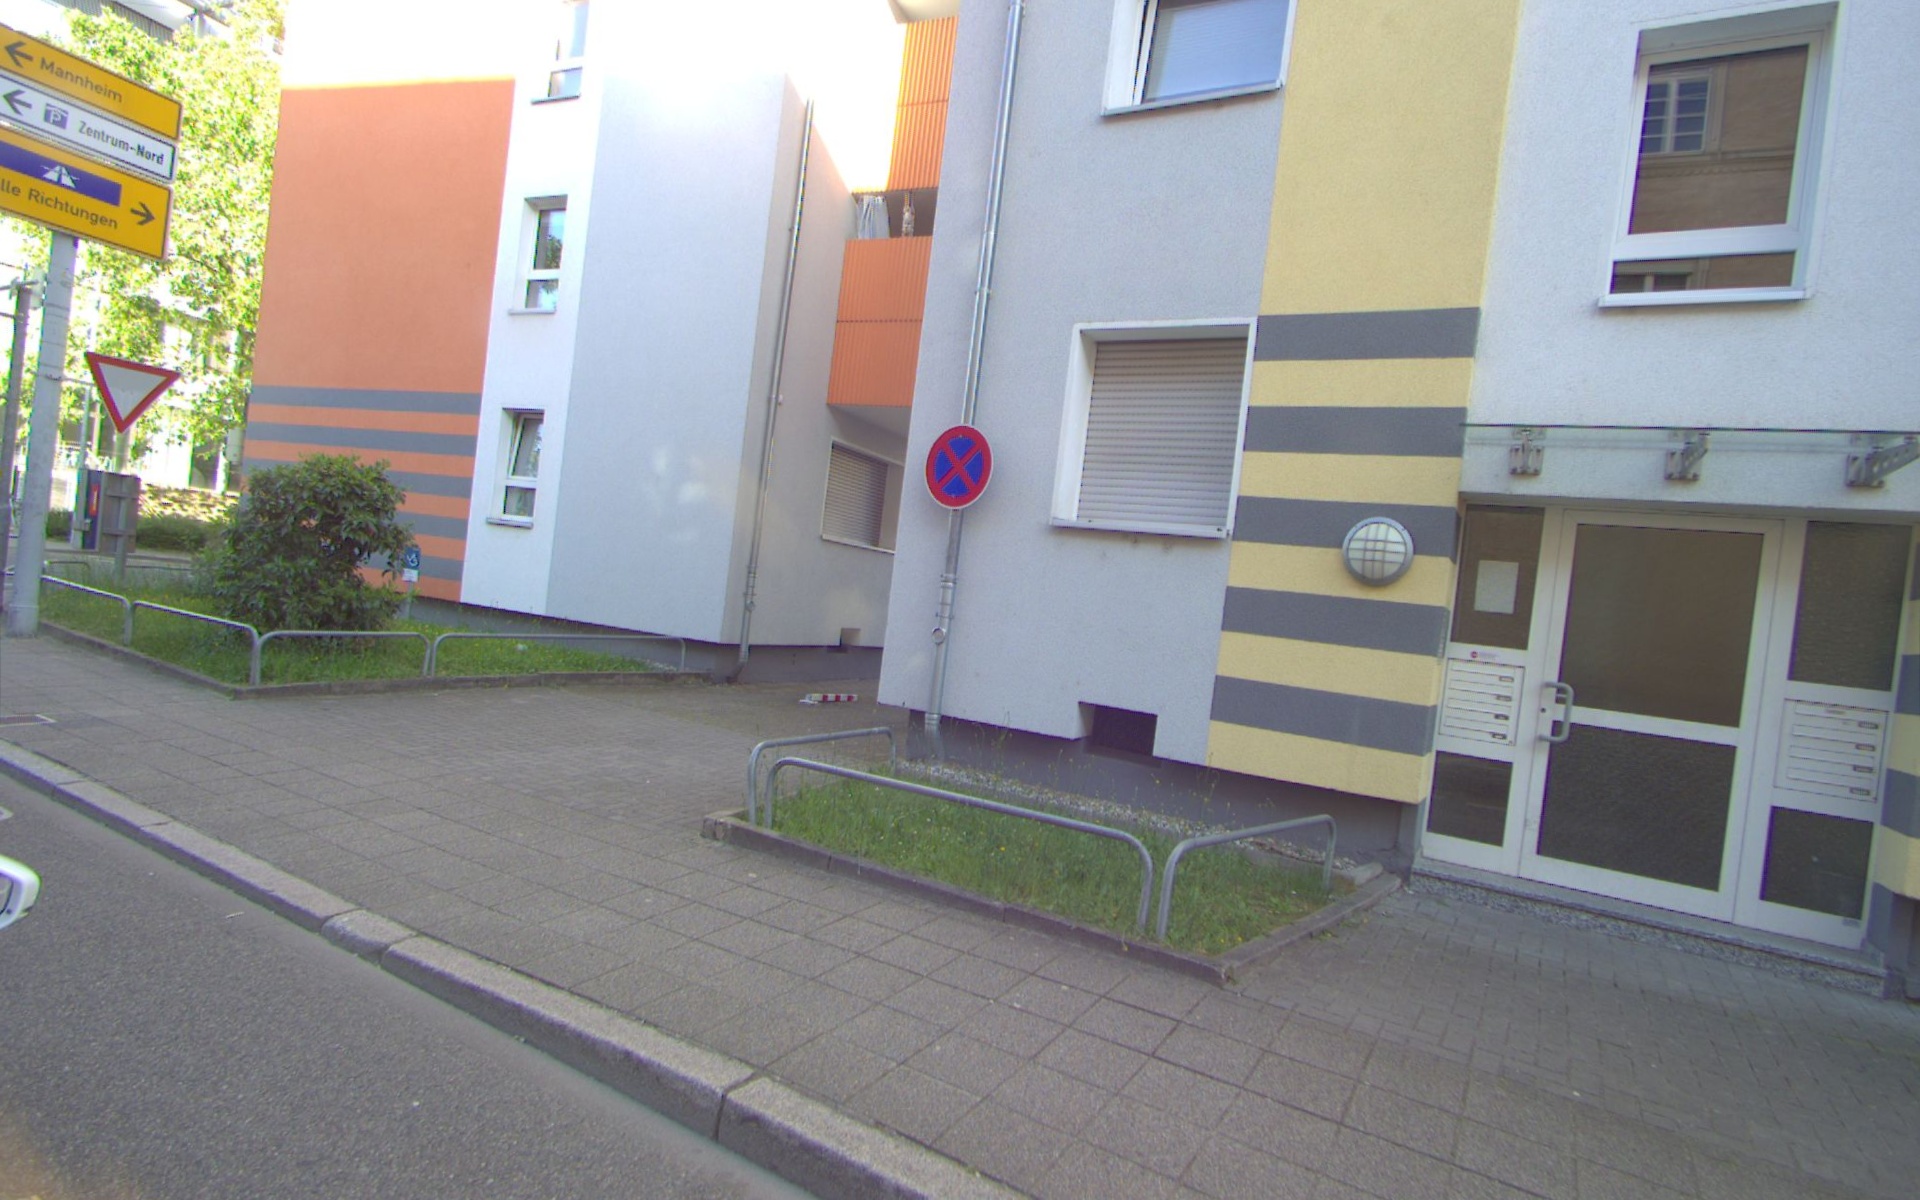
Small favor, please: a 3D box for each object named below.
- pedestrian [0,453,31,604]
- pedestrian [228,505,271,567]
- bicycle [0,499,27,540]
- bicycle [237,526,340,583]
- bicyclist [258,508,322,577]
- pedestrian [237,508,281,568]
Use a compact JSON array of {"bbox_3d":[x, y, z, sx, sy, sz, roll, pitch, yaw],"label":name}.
[{"bbox_3d":[-12.149,-0.917,12.473,0.696,1.831,0.712,8,-1,-39],"label":"pedestrian"},{"bbox_3d":[-22.310,-2.017,31.586,0.637,1.816,0.766,6,-1,34],"label":"pedestrian"},{"bbox_3d":[-26.402,-2.255,27.398,1.409,1.021,0.379,7,1,-11],"label":"bicycle"},{"bbox_3d":[-16.642,-1.108,24.970,0.583,1.166,1.963,7,0,37],"label":"bicycle"},{"bbox_3d":[-16.615,-1.426,24.962,0.583,1.546,1.075,8,1,37],"label":"bicyclist"},{"bbox_3d":[-21.732,-1.919,31.193,0.637,1.739,0.766,6,-1,34],"label":"pedestrian"}]
